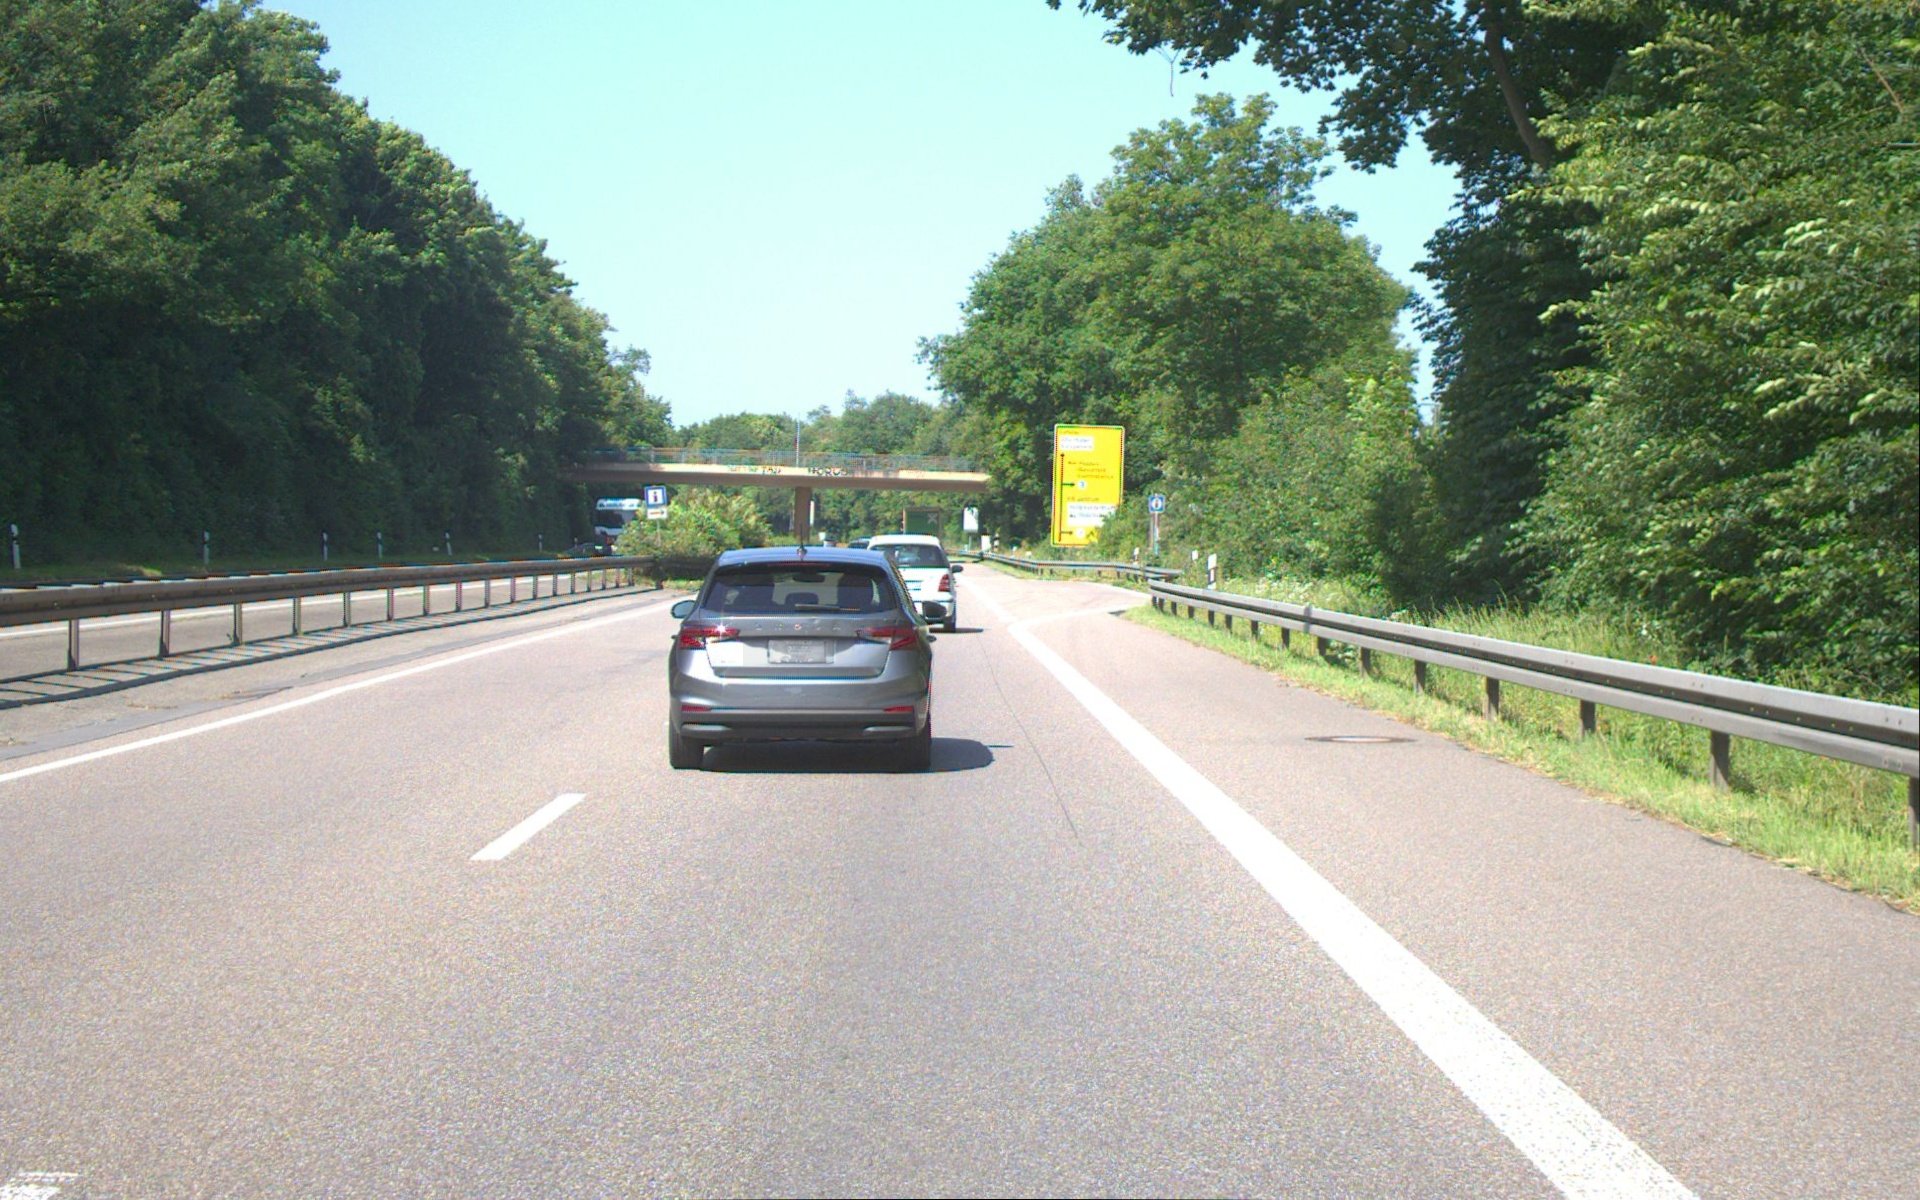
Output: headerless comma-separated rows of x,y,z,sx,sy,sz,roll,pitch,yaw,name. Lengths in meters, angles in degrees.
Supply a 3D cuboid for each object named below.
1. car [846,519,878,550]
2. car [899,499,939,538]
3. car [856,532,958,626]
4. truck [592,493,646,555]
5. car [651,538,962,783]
-6.485,-4.315,228.080,1.993,2.007,4.000,1,1,0,car
-2.907,-5.718,241.653,2.748,2.645,4.000,1,1,0,car
-0.845,-0.366,56.293,1.522,1.441,3.340,1,1,1,car
-18.155,-4.044,183.155,2.425,3.247,4.000,1,1,0,truck
-0.952,0.341,23.091,1.840,1.467,3.623,1,1,1,car
